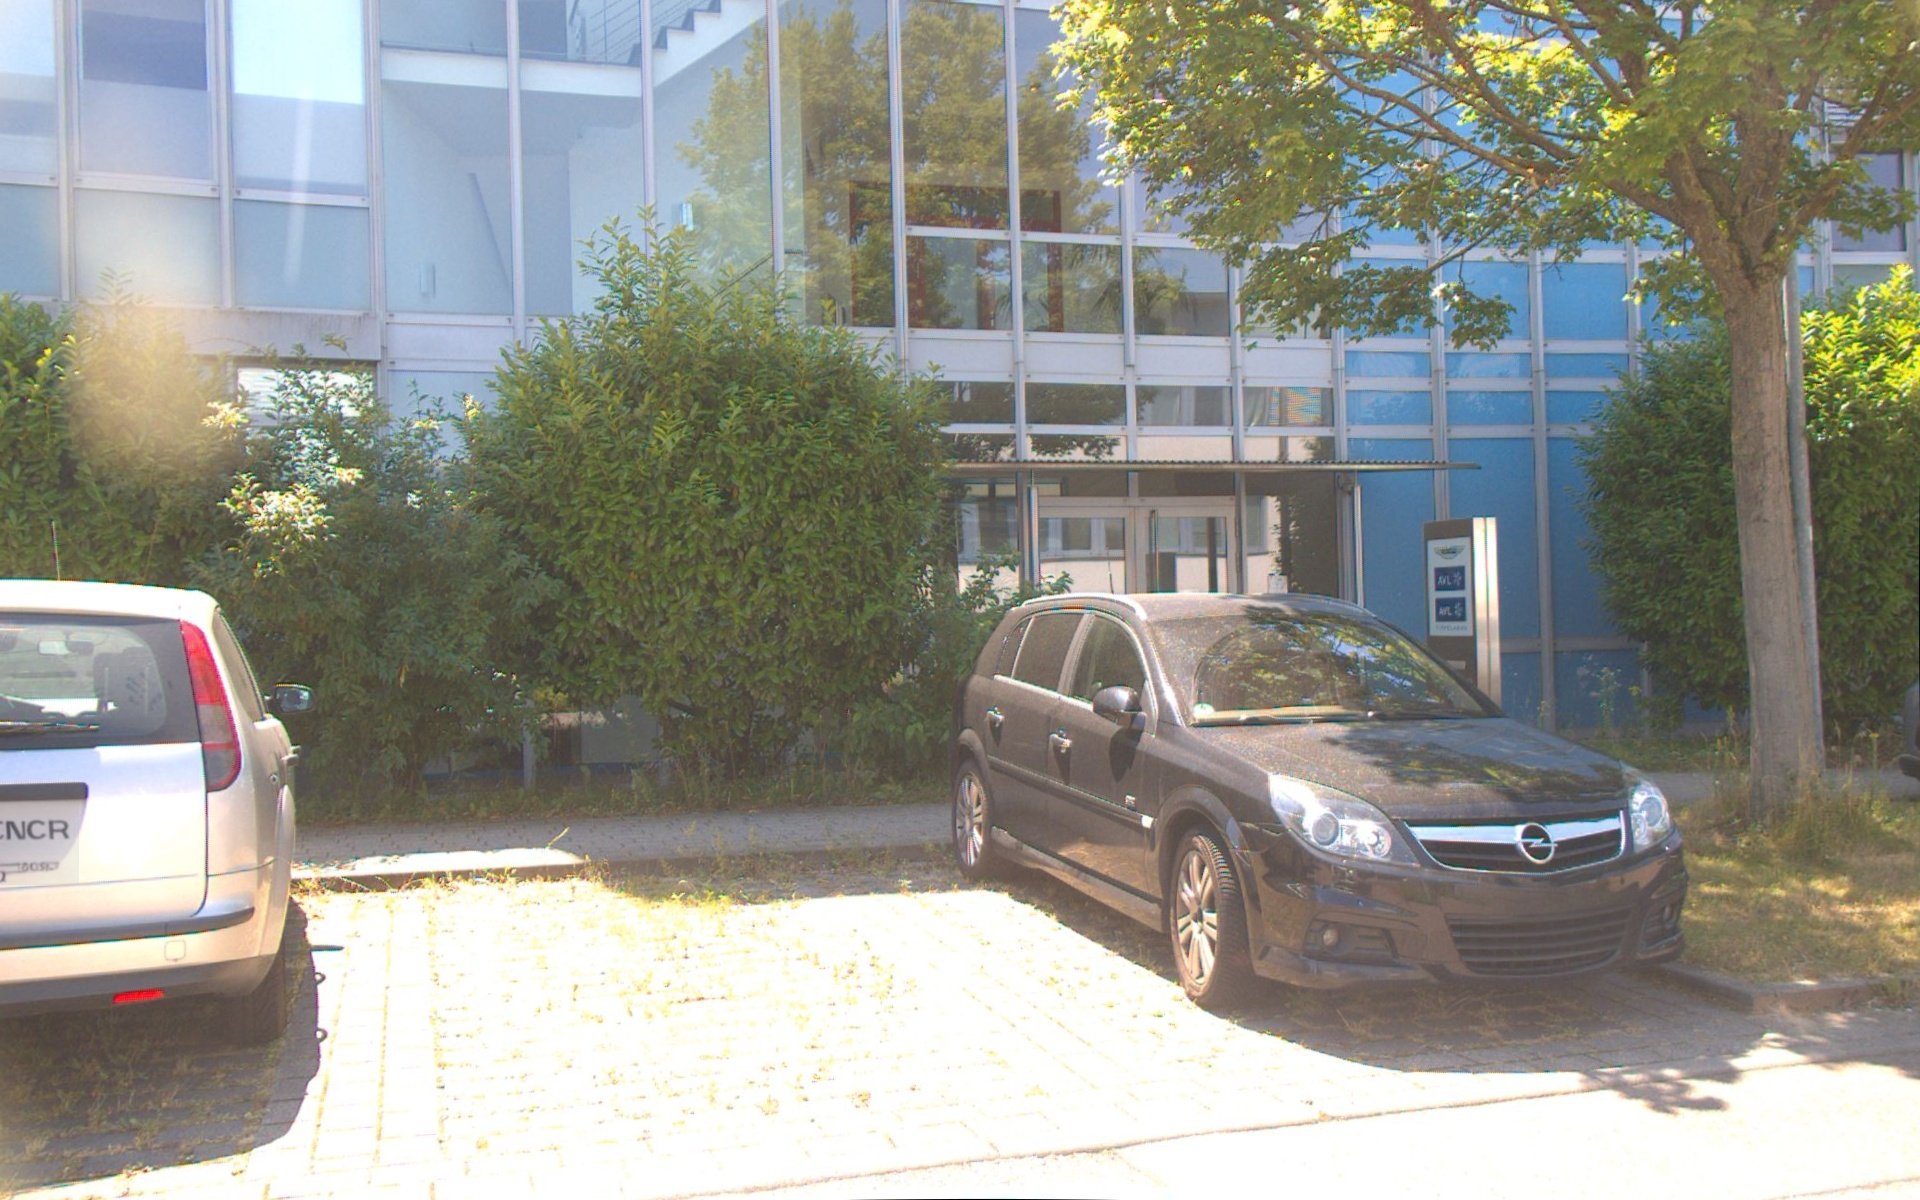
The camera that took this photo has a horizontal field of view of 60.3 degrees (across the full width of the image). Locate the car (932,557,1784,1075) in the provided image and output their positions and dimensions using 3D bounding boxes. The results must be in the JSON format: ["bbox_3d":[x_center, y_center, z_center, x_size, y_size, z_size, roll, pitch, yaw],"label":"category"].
[{"bbox_3d":[1.301,0.676,7.482,1.730,1.576,4.544,0,-1,-16],"label":"car"}]

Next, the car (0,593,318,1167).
[{"bbox_3d":[-3.383,0.757,6.332,1.695,1.505,4.321,0,-1,-21],"label":"car"}]

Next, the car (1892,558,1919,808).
[{"bbox_3d":[7.772,0.574,9.444,1.820,1.671,4.316,0,1,-14],"label":"car"}]
